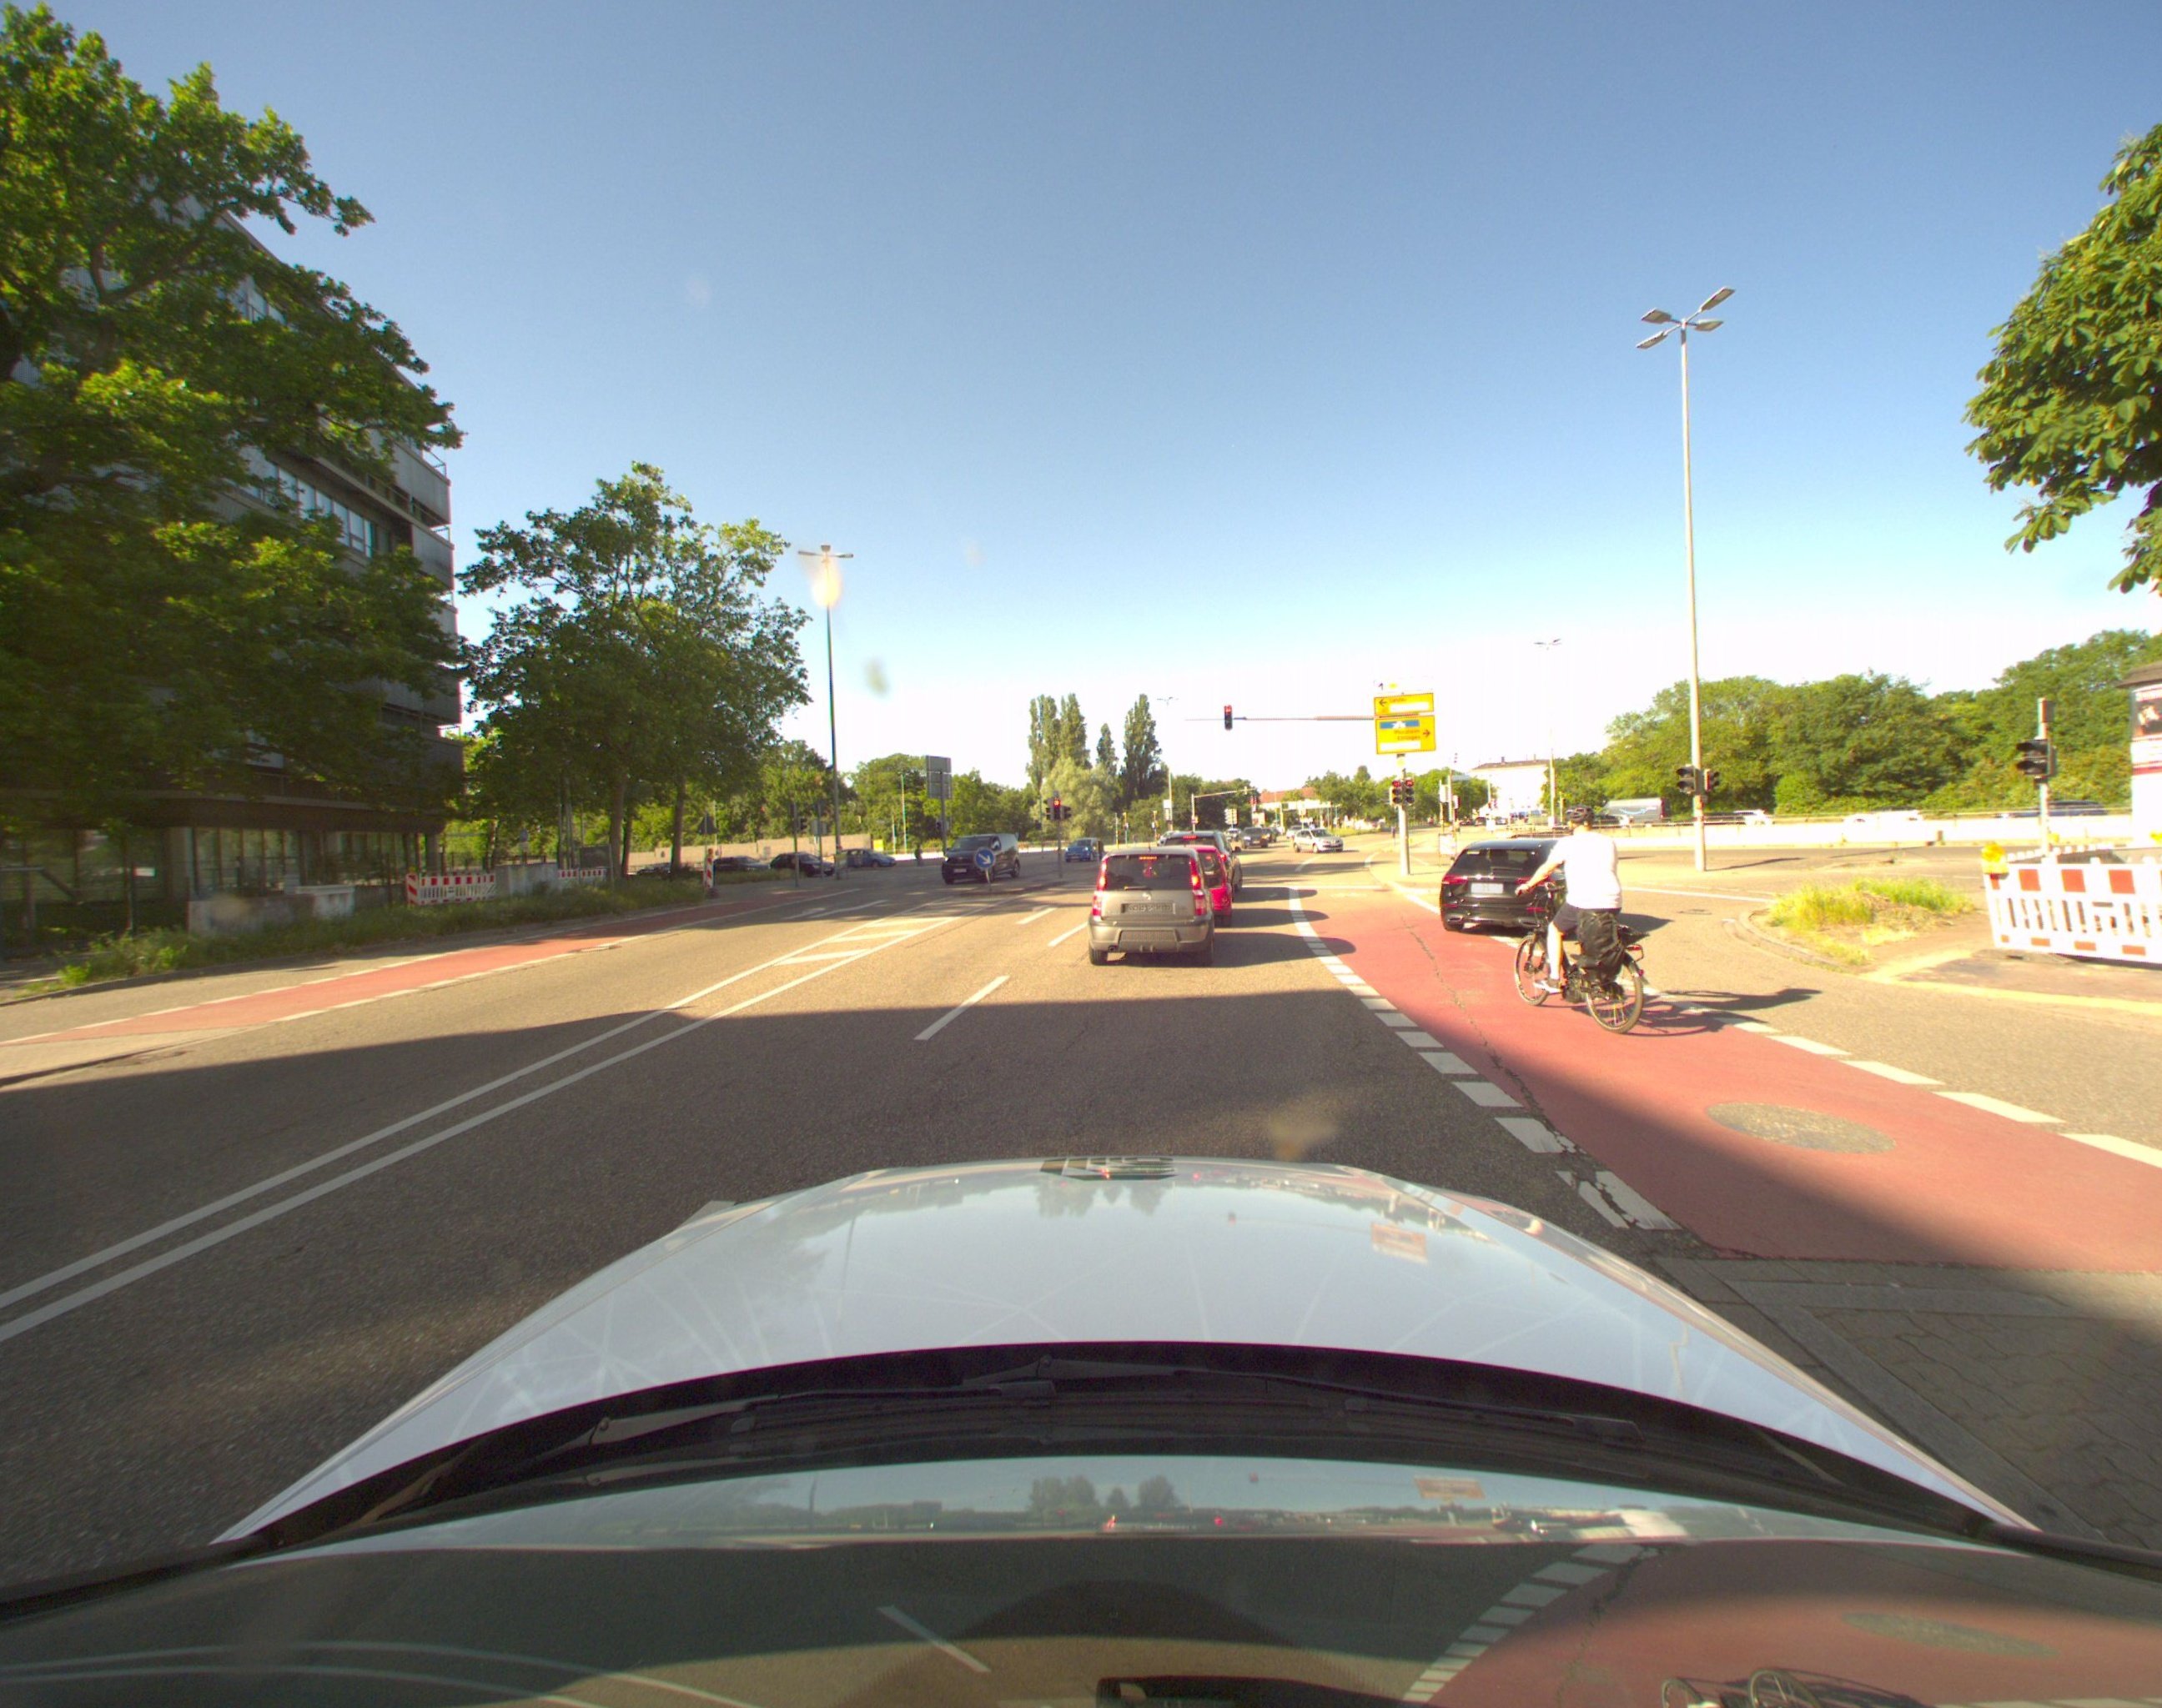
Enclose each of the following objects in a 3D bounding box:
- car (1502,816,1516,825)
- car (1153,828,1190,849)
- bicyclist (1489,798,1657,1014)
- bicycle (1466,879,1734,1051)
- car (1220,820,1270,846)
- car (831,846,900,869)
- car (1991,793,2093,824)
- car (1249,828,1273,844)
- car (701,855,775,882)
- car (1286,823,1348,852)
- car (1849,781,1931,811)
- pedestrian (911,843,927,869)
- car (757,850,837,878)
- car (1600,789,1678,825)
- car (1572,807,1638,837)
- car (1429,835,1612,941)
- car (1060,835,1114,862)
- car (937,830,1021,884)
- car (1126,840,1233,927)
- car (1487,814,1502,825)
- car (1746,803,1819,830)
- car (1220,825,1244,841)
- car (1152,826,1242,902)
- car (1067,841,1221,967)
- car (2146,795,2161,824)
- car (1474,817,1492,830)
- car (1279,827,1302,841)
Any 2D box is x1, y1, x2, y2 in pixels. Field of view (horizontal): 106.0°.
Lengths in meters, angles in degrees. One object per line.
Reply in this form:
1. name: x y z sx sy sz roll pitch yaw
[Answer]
1. car: 85.946 -6.655 163.672 1.974 1.640 4.026 -3 1 34
2. car: 7.973 -1.352 71.347 1.817 1.653 4.656 -2 1 25
3. bicyclist: 4.180 0.412 7.012 0.796 1.705 1.086 -1 0 2
4. bicycle: 4.182 0.811 6.874 0.796 1.111 2.403 -1 0 2
5. car: 12.742 -1.603 63.575 1.998 1.836 4.334 -1 -1 -17
6. car: -15.226 0.252 57.435 4.397 1.438 1.836 -3 1 22
7. car: 61.740 -2.879 52.429 3.949 1.662 2.012 -2 -2 42
8. car: 17.464 -1.718 78.873 1.978 1.453 4.018 -2 0 16
9. car: -21.696 0.910 51.469 4.394 1.438 1.837 -2 1 28
10. car: 14.284 -0.995 49.516 1.822 1.582 4.086 -3 1 -12
11. car: 56.487 -4.023 56.944 3.949 1.684 1.868 -2 -2 44
12. pedestrian: -10.373 0.137 52.201 0.683 1.538 1.367 -1 -4 3
13. car: -16.620 0.580 47.573 4.394 1.438 1.837 -2 1 28
14. car: 46.400 -3.835 67.864 2.271 2.607 4.831 0 -1 -37
15. car: 40.405 -2.451 62.849 3.949 2.014 2.012 -2 -2 44
16. car: 7.499 0.450 13.708 1.734 1.493 4.024 0 1 43
17. car: 0.431 -0.389 52.266 1.804 1.503 4.476 -2 1 23
18. car: -4.030 0.062 33.034 1.982 1.935 4.865 -2 1 9
19. car: 2.029 0.486 16.174 1.809 1.479 4.011 -2 1 9
20. car: 74.285 -6.182 146.250 1.974 1.793 4.026 -3 1 31
21. car: 52.423 -2.750 60.885 3.949 1.750 2.012 -2 -2 44
22. car: 16.617 -2.303 89.624 1.671 1.457 3.935 -3 -3 24
23. car: 3.178 0.187 21.549 1.855 1.790 4.432 -1 2 15
24. car: 1.101 0.571 11.918 1.808 1.489 4.012 0 1 11
25. car: 66.521 -2.766 48.160 3.949 1.662 2.012 -2 -2 44
26. car: 64.164 -4.833 130.028 1.974 1.794 4.025 -2 -1 35
27. car: 23.195 -2.197 89.949 1.752 1.387 4.385 -3 1 23
